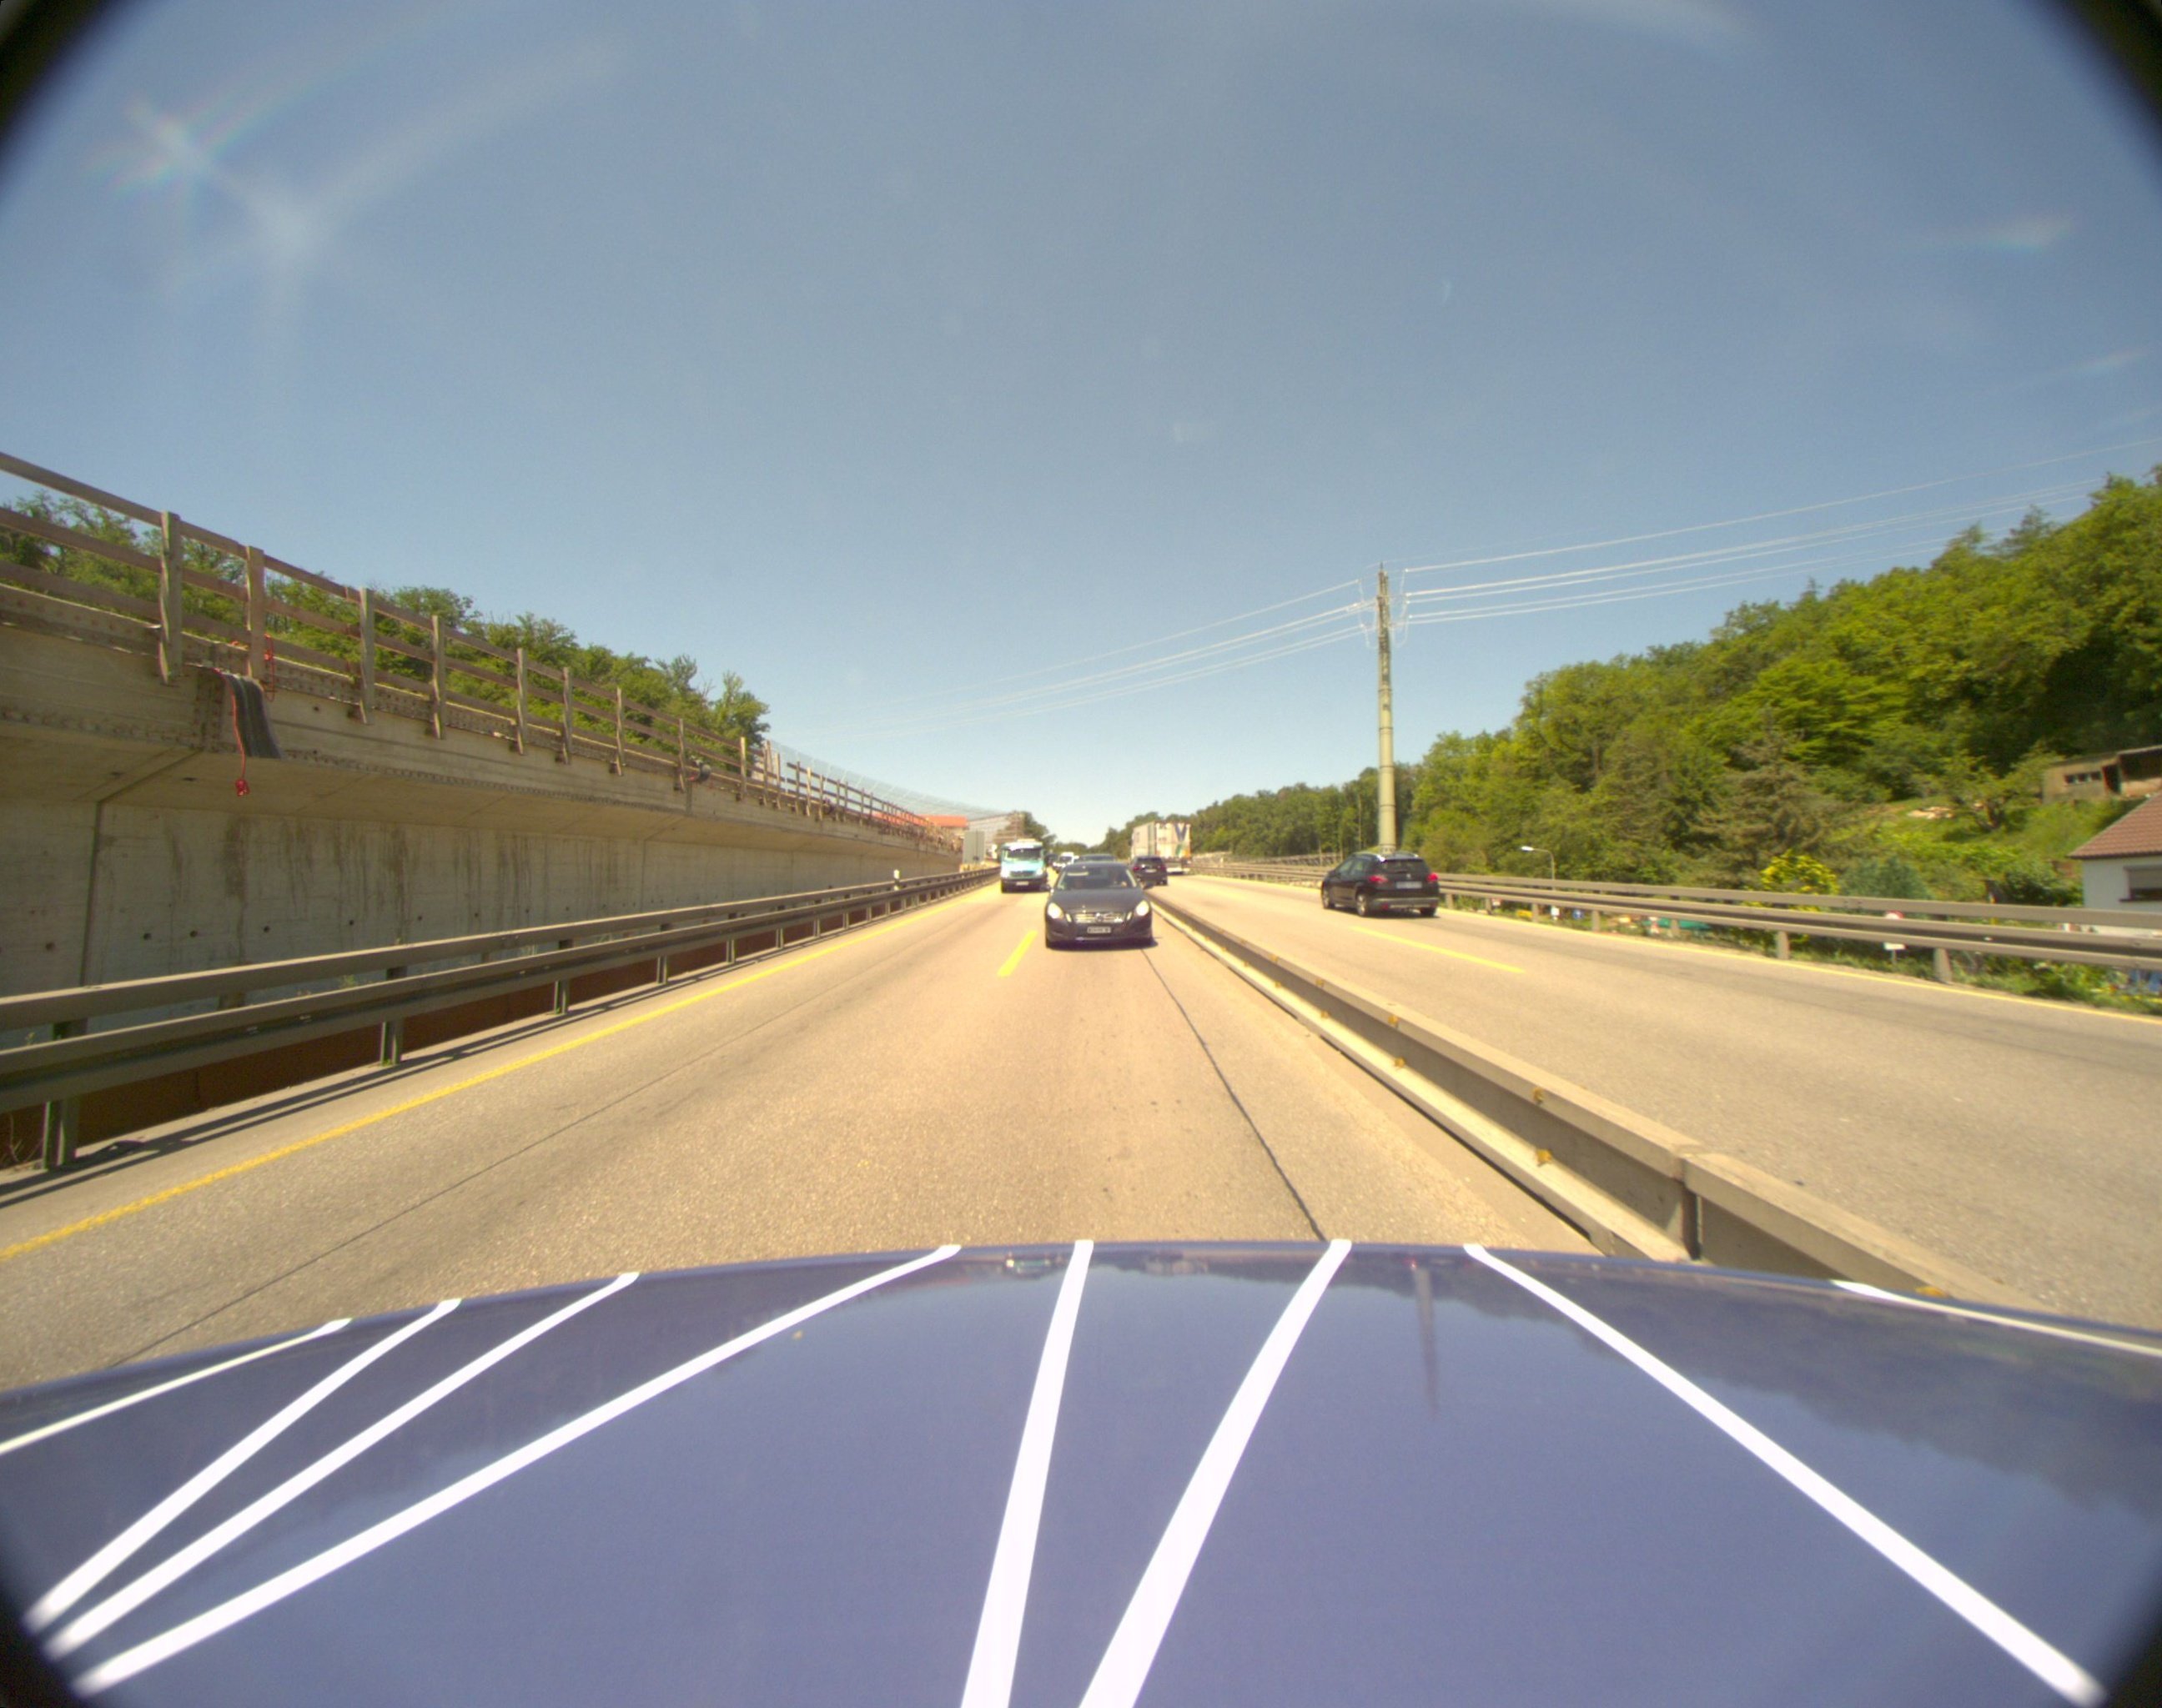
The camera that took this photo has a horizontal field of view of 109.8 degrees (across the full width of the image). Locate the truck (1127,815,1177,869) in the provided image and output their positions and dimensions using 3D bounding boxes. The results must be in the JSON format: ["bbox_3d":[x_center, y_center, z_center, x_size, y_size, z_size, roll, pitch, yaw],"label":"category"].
[{"bbox_3d":[6.184,-1.018,67.421,3.312,4.337,8.298,-2,1,-2],"label":"truck"}]

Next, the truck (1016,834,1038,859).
[{"bbox_3d":[-8.166,-1.074,114.119,2.472,3.464,9.861,-2,1,-7],"label":"truck"}]

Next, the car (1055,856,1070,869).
[{"bbox_3d":[-2.149,0.999,86.403,1.647,1.366,3.344,-2,1,-2],"label":"car"}]

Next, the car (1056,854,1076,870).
[{"bbox_3d":[-1.374,0.747,69.899,1.647,1.366,3.344,-2,1,1],"label":"car"}]

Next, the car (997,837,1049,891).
[{"bbox_3d":[-2.683,0.409,36.397,2.217,2.312,6.899,-1,1,-3],"label":"car"}]

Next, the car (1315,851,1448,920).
[{"bbox_3d":[7.246,0.753,18.792,1.736,1.480,4.001,-1,-1,1],"label":"car"}]

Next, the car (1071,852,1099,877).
[{"bbox_3d":[0.278,0.675,50.767,1.736,1.557,3.619,-2,1,0],"label":"car"}]

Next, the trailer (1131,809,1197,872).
[{"bbox_3d":[6.398,-1.028,61.322,3.261,4.353,14.054,-2,1,-2],"label":"trailer"}]

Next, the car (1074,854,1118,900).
[{"bbox_3d":[0.535,0.813,28.644,1.519,1.543,3.860,-1,1,1],"label":"car"}]

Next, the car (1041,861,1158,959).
[{"bbox_3d":[0.189,0.910,14.357,1.844,1.475,4.561,-1,0,-3],"label":"car"}]

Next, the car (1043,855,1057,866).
[{"bbox_3d":[-4.201,0.833,103.615,1.586,1.366,3.344,-2,1,1],"label":"car"}]

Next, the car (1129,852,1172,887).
[{"bbox_3d":[3.534,0.746,39.425,1.824,1.577,4.159,-4,1,1],"label":"car"}]

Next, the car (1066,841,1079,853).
[{"bbox_3d":[-1.377,-1.142,124.380,1.999,1.999,4.856,-1,1,-1],"label":"car"}]
